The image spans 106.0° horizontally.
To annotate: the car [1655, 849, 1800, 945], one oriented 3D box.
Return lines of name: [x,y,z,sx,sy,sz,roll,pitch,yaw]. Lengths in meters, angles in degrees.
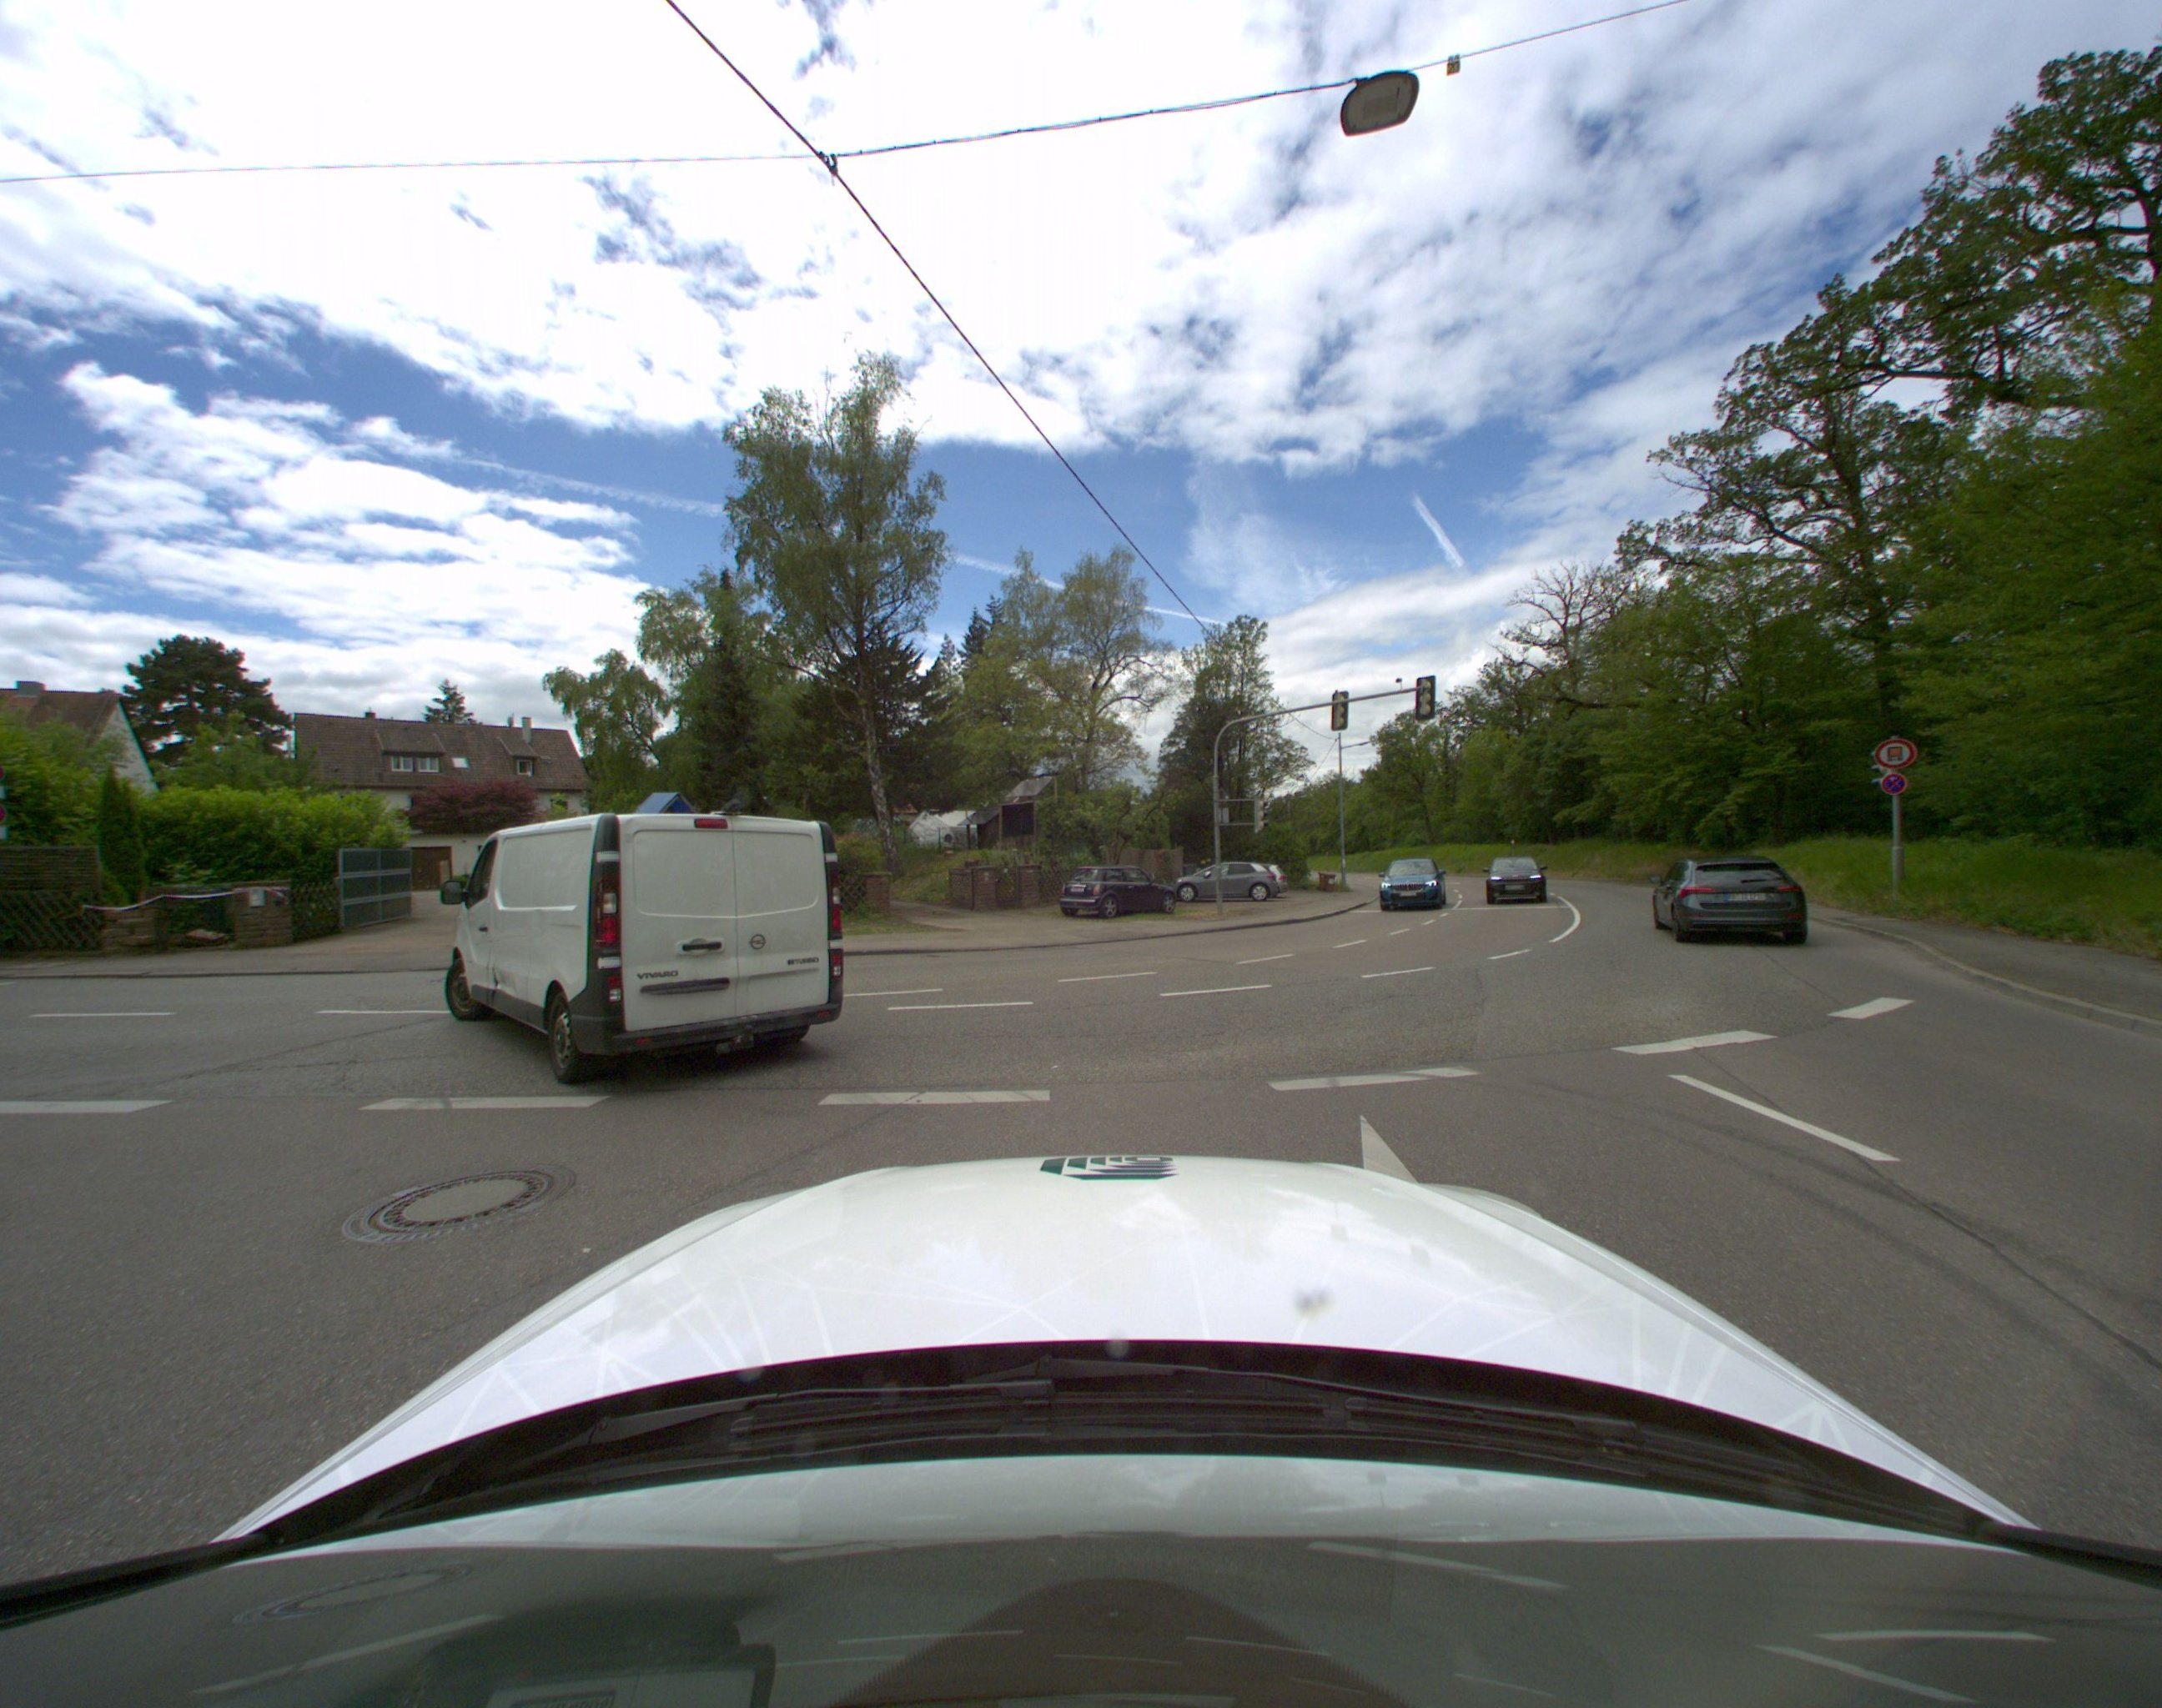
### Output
car: [11.447,0.667,14.604,1.775,1.450,4.026,-2,0,36]

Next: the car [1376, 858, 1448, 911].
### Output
car: [10.955,0.944,26.799,1.839,1.507,4.024,-4,-1,26]

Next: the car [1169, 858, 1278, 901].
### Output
car: [5.618,1.007,32.128,4.061,1.553,1.860,-1,0,10]

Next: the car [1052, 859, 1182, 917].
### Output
car: [1.063,0.905,22.965,3.563,1.448,1.682,0,1,-45]

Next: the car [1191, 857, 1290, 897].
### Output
car: [6.813,0.985,34.936,4.061,1.553,1.860,-1,0,10]

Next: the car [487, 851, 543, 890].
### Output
car: [-26.882,0.741,38.658,2.009,1.657,4.296,-3,1,-36]

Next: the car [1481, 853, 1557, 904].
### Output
car: [14.721,0.776,27.555,1.799,1.507,4.022,-4,-1,23]

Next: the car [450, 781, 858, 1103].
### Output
car: [-4.130,0.548,7.463,4.556,2.053,1.934,0,1,44]

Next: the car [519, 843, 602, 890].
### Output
car: [-19.840,0.443,30.967,2.011,1.658,4.291,0,0,-41]
